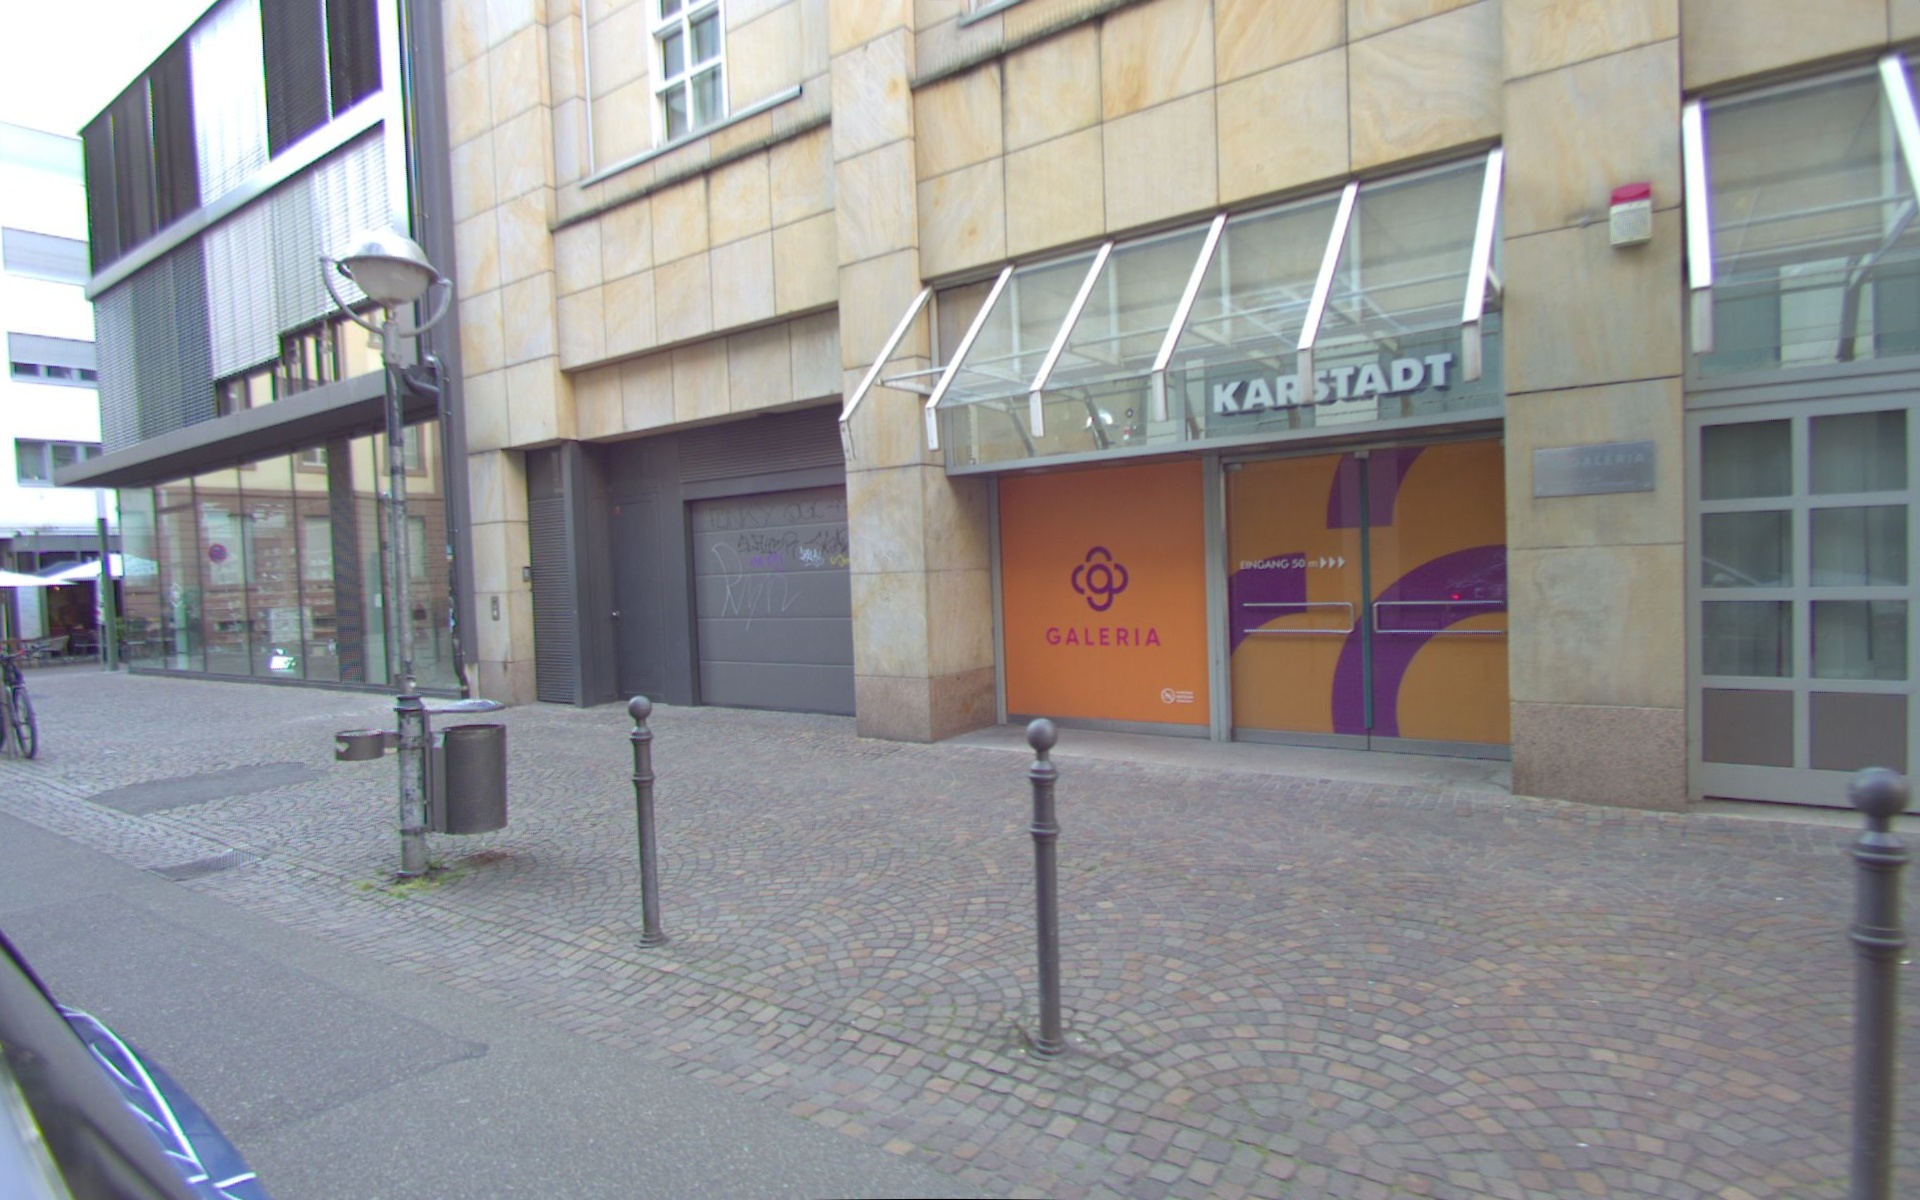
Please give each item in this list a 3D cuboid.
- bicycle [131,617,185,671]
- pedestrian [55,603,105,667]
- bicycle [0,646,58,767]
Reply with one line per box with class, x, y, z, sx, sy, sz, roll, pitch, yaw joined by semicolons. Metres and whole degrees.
bicycle;-18.526;1.024;23.360;1.699;1.144;0.461;-4;0;35
pedestrian;-23.635;0.939;27.189;0.789;1.661;0.718;-2;1;30
bicycle;-10.005;1.065;10.489;1.924;1.141;0.407;-2;2;32
